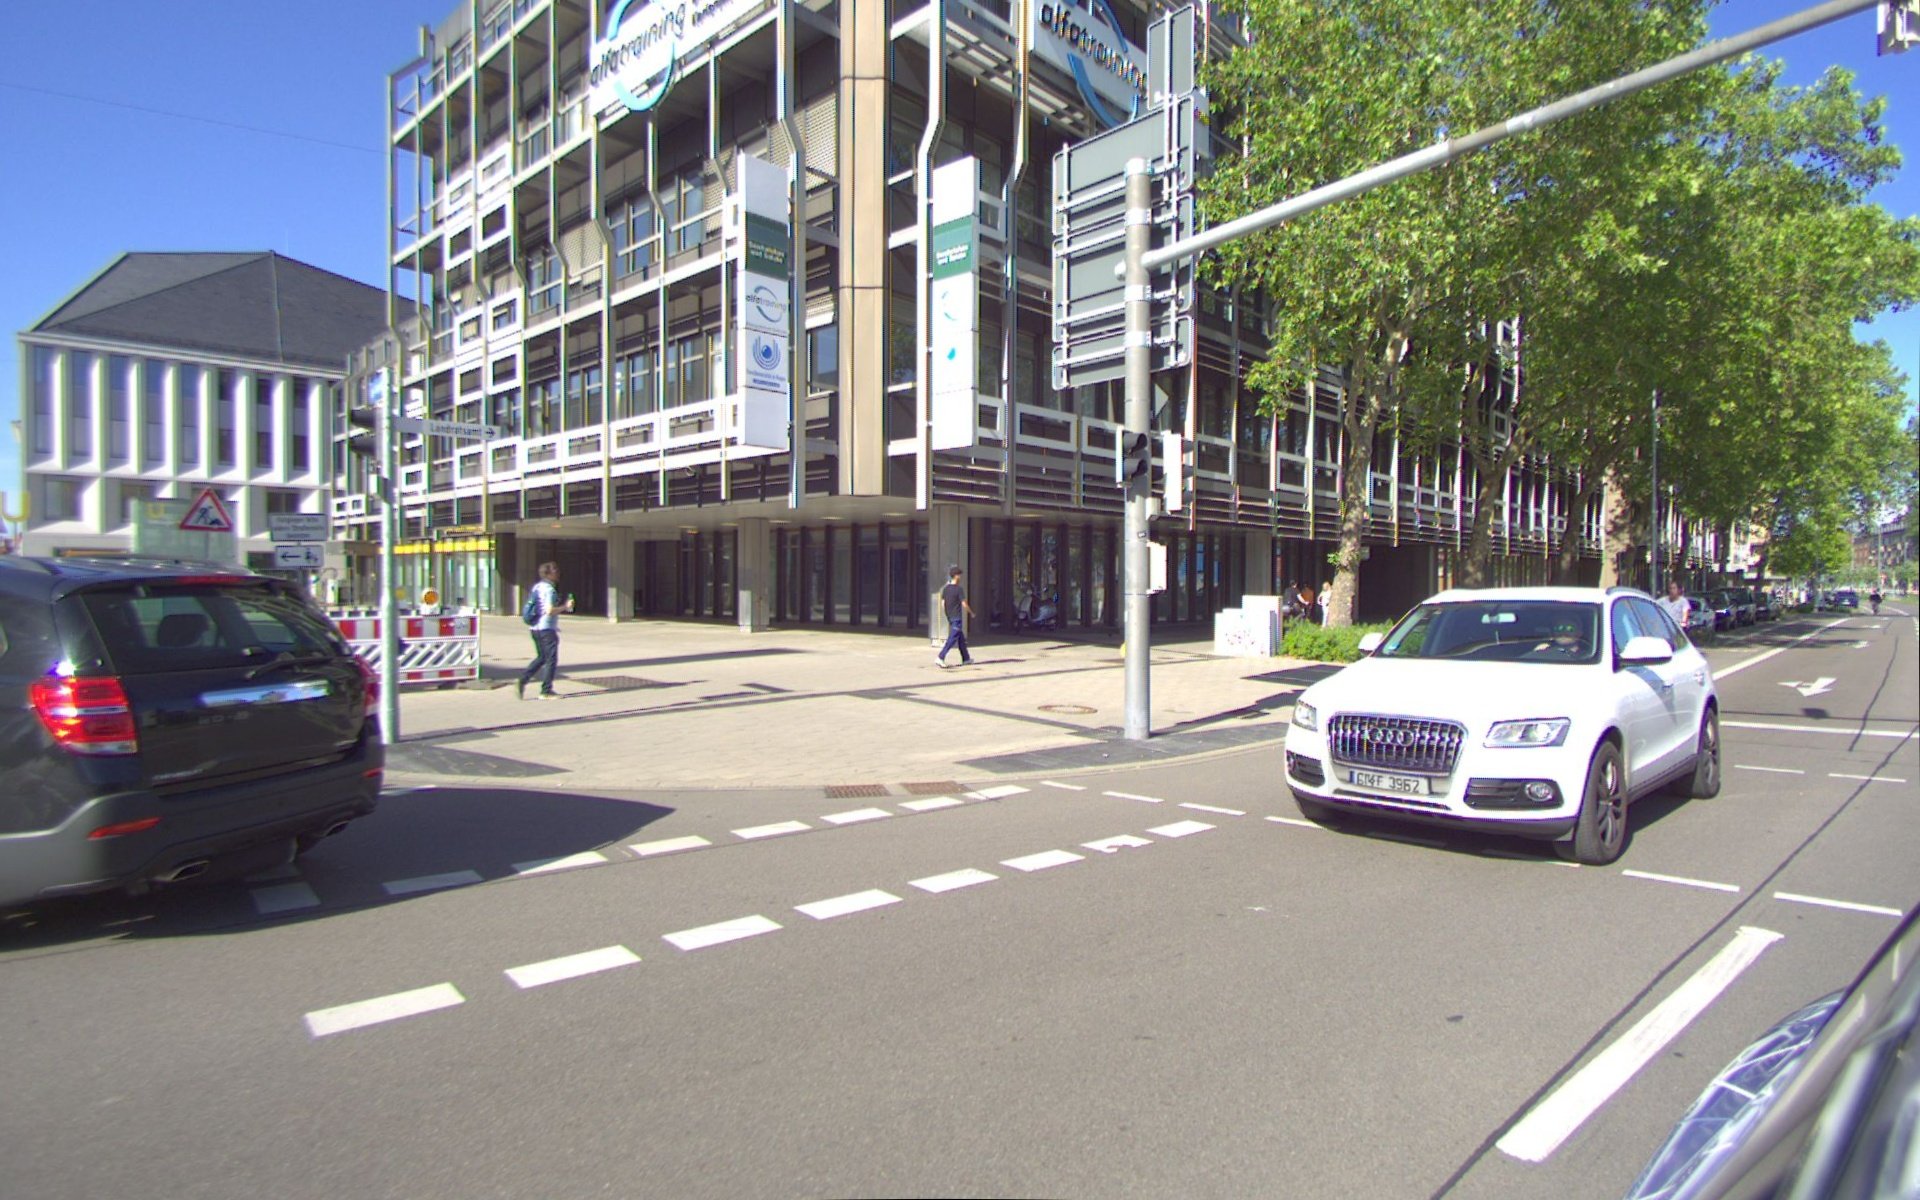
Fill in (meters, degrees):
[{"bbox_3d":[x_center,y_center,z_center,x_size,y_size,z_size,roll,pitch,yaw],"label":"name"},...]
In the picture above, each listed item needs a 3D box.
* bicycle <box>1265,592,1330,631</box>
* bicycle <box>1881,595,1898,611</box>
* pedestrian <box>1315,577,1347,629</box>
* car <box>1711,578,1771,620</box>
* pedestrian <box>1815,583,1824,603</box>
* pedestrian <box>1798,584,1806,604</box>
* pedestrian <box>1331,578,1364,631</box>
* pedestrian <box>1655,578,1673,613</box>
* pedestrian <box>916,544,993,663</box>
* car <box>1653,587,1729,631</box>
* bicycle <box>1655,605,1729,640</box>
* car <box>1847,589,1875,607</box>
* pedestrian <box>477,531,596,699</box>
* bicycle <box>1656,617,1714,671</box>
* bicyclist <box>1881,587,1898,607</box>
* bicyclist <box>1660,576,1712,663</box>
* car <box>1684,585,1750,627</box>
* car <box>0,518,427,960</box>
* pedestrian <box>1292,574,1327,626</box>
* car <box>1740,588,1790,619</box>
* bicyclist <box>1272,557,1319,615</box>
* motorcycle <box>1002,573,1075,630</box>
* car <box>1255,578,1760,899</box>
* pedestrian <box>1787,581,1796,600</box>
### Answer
[{"bbox_3d":[9.021,0.296,27.014,0.881,0.997,2.019,1,1,44],"label":"bicycle"},{"bbox_3d":[66.370,0.202,72.278,0.843,1.144,2.512,0,0,44],"label":"bicycle"},{"bbox_3d":[11.802,0.090,32.203,0.716,1.620,0.666,0,3,-45],"label":"pedestrian"},{"bbox_3d":[36.460,-0.060,47.224,1.748,1.844,4.269,3,2,44],"label":"car"},{"bbox_3d":[79.099,-0.637,93.168,0.590,1.864,0.560,0,0,44],"label":"pedestrian"},{"bbox_3d":[81.768,-0.576,98.259,0.590,1.864,0.560,0,0,44],"label":"pedestrian"},{"bbox_3d":[12.053,0.130,31.455,0.666,1.620,0.716,4,3,45],"label":"pedestrian"},{"bbox_3d":[41.226,-0.259,59.232,0.615,2.039,0.740,0,0,-42],"label":"pedestrian"},{"bbox_3d":[-0.094,0.050,18.098,0.944,2.039,1.065,1,0,37],"label":"pedestrian"},{"bbox_3d":[27.850,0.307,38.508,1.748,1.508,4.488,3,2,44],"label":"car"},{"bbox_3d":[23.092,0.701,31.939,1.841,0.972,0.701,4,2,40],"label":"bicycle"},{"bbox_3d":[88.210,-0.206,99.060,1.992,1.627,3.837,1,1,42],"label":"car"},{"bbox_3d":[-5.422,0.167,12.973,0.943,2.039,1.067,1,1,33],"label":"pedestrian"},{"bbox_3d":[14.562,0.862,20.300,0.709,1.006,1.894,-2,-1,42],"label":"bicycle"},{"bbox_3d":[66.413,-0.198,72.307,0.828,1.405,0.889,0,0,45],"label":"bicyclist"},{"bbox_3d":[14.631,0.386,20.400,0.709,1.709,0.839,-2,-2,43],"label":"bicyclist"},{"bbox_3d":[32.396,0.214,43.261,1.748,1.653,4.269,3,2,44],"label":"car"},{"bbox_3d":[-5.303,0.518,5.350,4.347,1.721,1.783,0,0,14],"label":"car"},{"bbox_3d":[11.333,-0.001,32.828,0.666,1.620,0.993,4,3,44],"label":"pedestrian"},{"bbox_3d":[44.115,0.157,55.441,1.748,1.573,4.269,3,2,44],"label":"car"},{"bbox_3d":[8.931,-0.380,26.932,0.881,1.495,0.869,1,1,44],"label":"bicyclist"},{"bbox_3d":[2.146,0.024,27.289,0.823,1.459,2.088,1,1,44],"label":"motorcycle"},{"bbox_3d":[4.133,0.689,7.292,4.336,1.634,1.822,0,1,-41],"label":"car"},{"bbox_3d":[78.880,-0.898,96.039,0.590,1.864,0.685,0,0,44],"label":"pedestrian"}]
